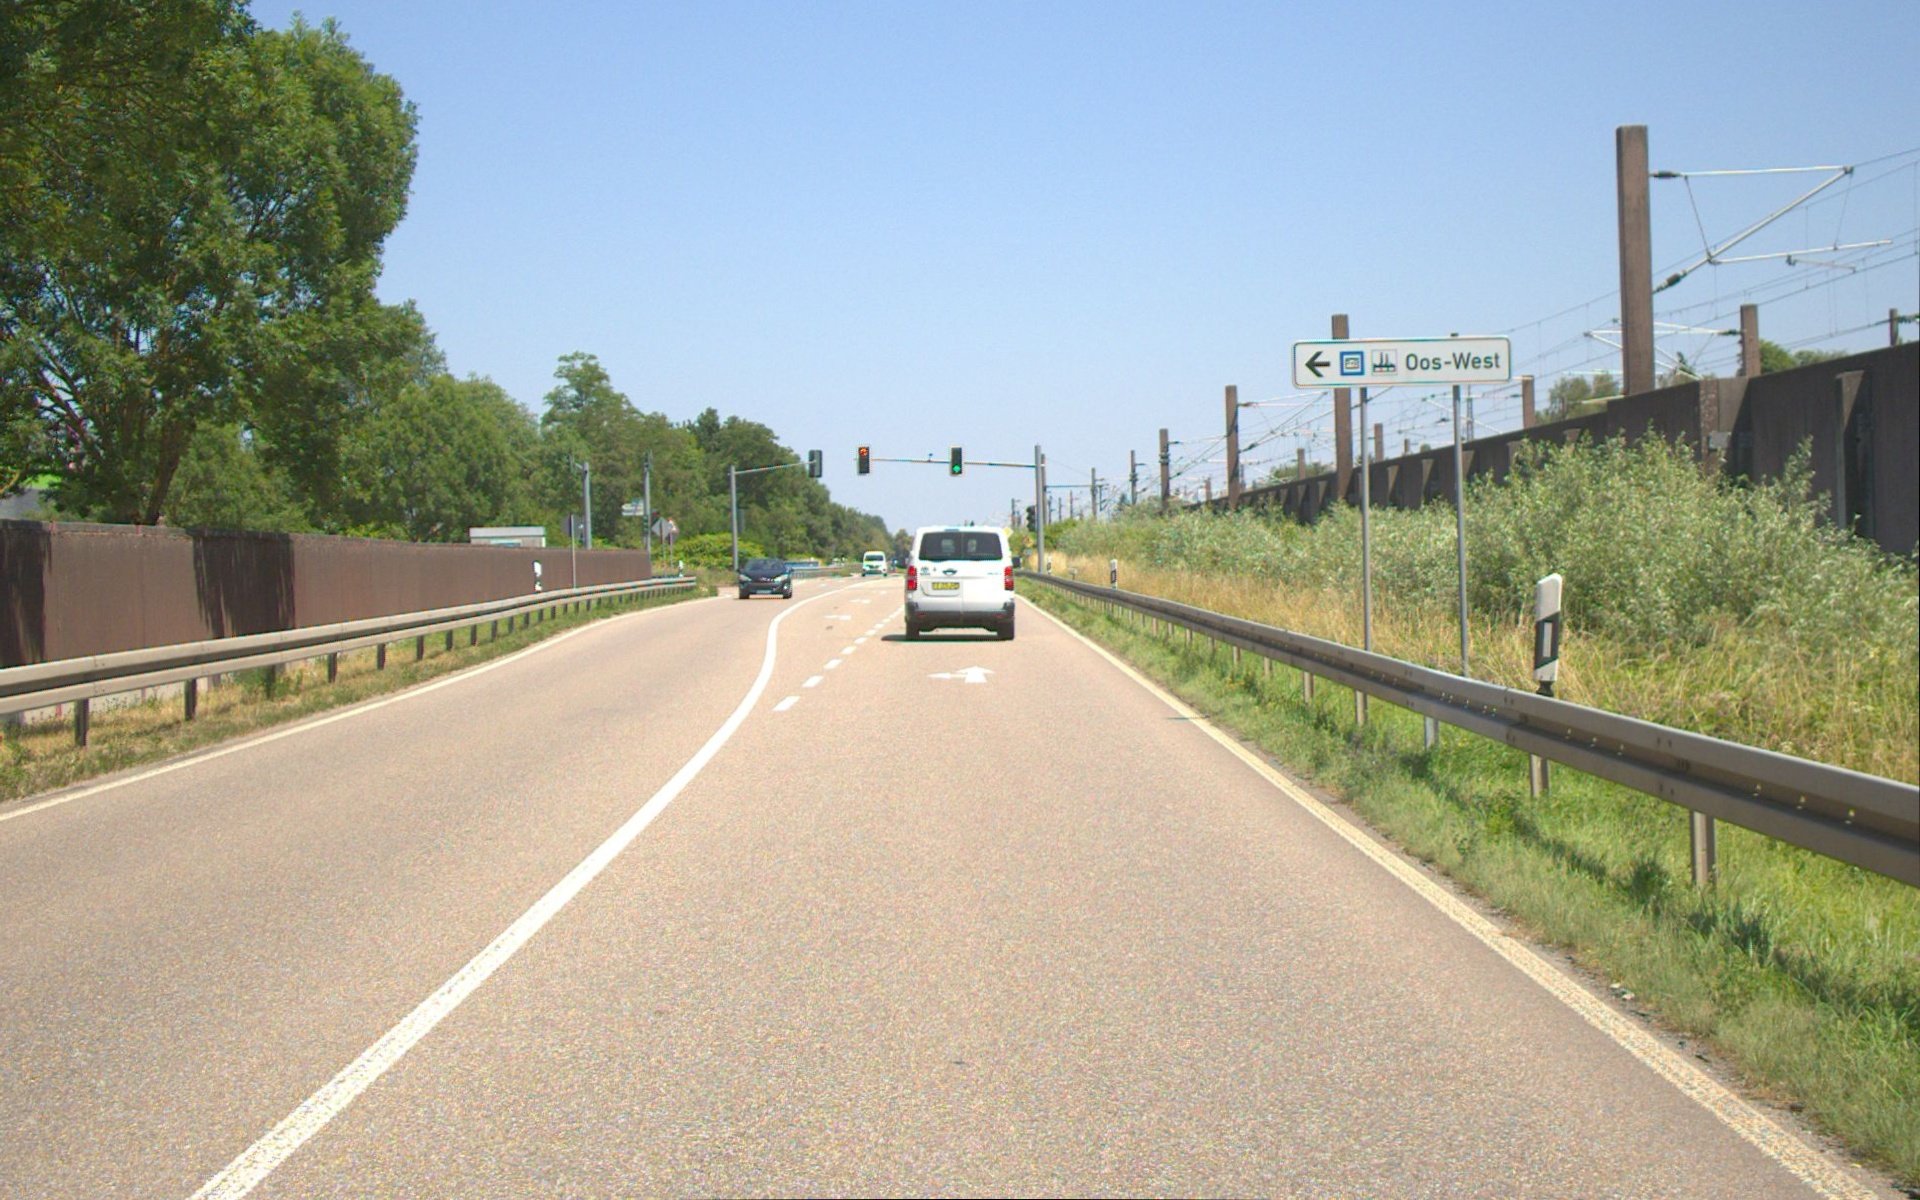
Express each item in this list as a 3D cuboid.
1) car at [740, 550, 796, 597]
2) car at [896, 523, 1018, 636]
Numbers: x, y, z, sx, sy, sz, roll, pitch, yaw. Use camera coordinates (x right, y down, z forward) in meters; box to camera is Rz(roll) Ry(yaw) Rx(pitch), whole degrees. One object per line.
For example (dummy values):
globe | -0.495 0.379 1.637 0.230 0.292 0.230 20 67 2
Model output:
car | -6.725 -0.939 120.787 1.819 1.590 4.000 1 1 -1
car | -0.051 -0.381 58.742 1.993 1.843 4.000 1 1 0
